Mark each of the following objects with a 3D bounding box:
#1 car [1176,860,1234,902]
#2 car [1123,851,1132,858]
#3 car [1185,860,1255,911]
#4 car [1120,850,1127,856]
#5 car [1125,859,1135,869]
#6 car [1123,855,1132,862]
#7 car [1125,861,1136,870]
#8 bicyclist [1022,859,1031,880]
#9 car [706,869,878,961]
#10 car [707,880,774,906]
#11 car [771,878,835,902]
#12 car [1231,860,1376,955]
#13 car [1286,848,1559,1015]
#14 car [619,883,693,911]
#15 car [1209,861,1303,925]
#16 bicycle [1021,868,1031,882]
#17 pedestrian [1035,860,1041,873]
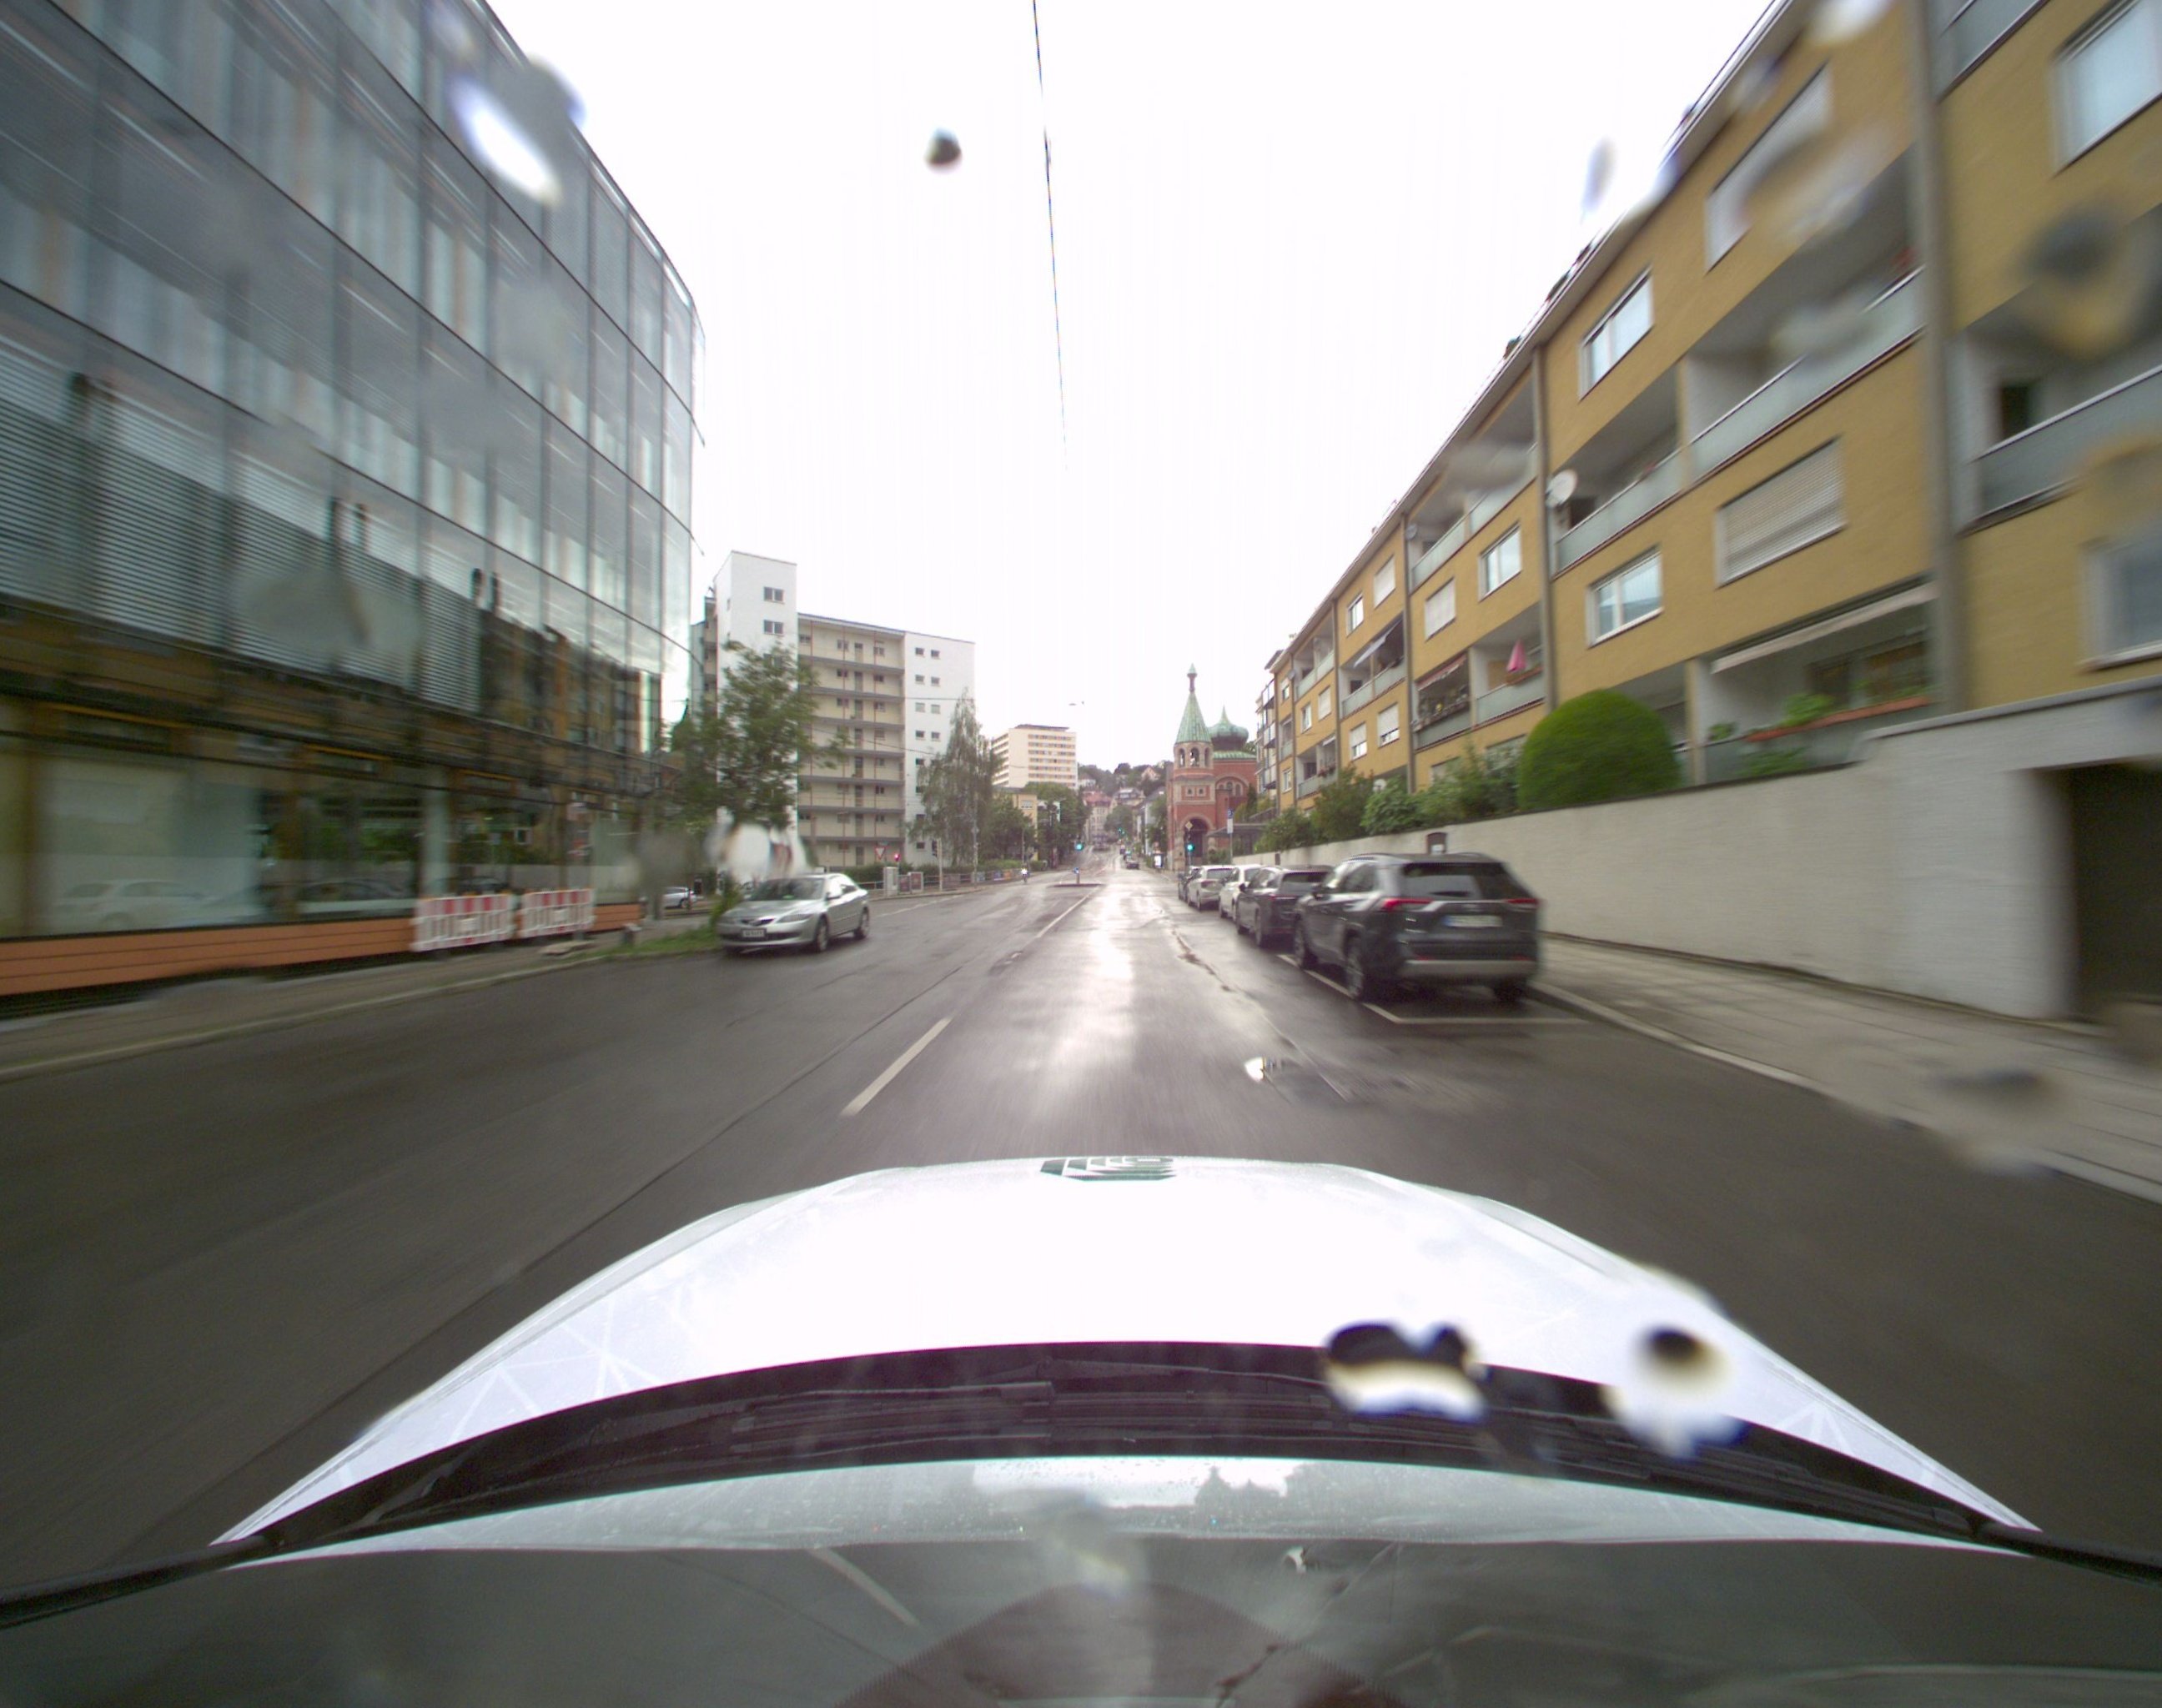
[{"bbox_3d":[4.888,1.025,32.605,1.811,1.522,4.078,1,0,2],"label":"car"},{"bbox_3d":[11.270,0.132,197.478,1.901,1.510,4.002,1,0,2],"label":"car"},{"bbox_3d":[4.615,1.014,27.547,1.811,1.522,4.078,1,0,2],"label":"car"},{"bbox_3d":[12.053,-0.334,229.989,1.901,1.510,4.002,1,0,2],"label":"car"},{"bbox_3d":[9.444,1.863,156.238,1.843,1.766,4.004,0,0,3],"label":"car"},{"bbox_3d":[10.371,0.934,181.322,1.885,1.510,4.002,1,0,2],"label":"car"},{"bbox_3d":[8.763,2.006,144.784,1.723,1.654,4.006,-1,0,5],"label":"car"},{"bbox_3d":[-4.416,1.240,65.687,0.675,1.661,0.650,-1,-1,-1],"label":"bicyclist"},{"bbox_3d":[-5.432,1.080,15.928,1.703,1.450,4.295,-2,0,1],"label":"car"},{"bbox_3d":[-23.539,2.681,56.344,4.018,1.510,1.780,-1,0,-36],"label":"car"},{"bbox_3d":[-20.214,2.592,59.240,4.018,1.510,1.780,-1,0,-36],"label":"car"},{"bbox_3d":[4.110,0.911,15.740,1.811,1.522,4.078,0,0,2],"label":"car"},{"bbox_3d":[3.912,0.760,10.151,1.811,1.652,4.078,0,0,2],"label":"car"},{"bbox_3d":[-27.635,2.773,52.976,4.018,1.510,1.780,-1,0,-36],"label":"car"},{"bbox_3d":[4.680,0.981,22.282,1.811,1.522,4.078,1,0,2],"label":"car"},{"bbox_3d":[-4.417,1.671,65.745,0.675,1.107,1.799,-1,0,-1],"label":"bicycle"},{"bbox_3d":[-6.652,1.908,125.625,0.885,1.893,0.921,-1,0,-4],"label":"pedestrian"}]
